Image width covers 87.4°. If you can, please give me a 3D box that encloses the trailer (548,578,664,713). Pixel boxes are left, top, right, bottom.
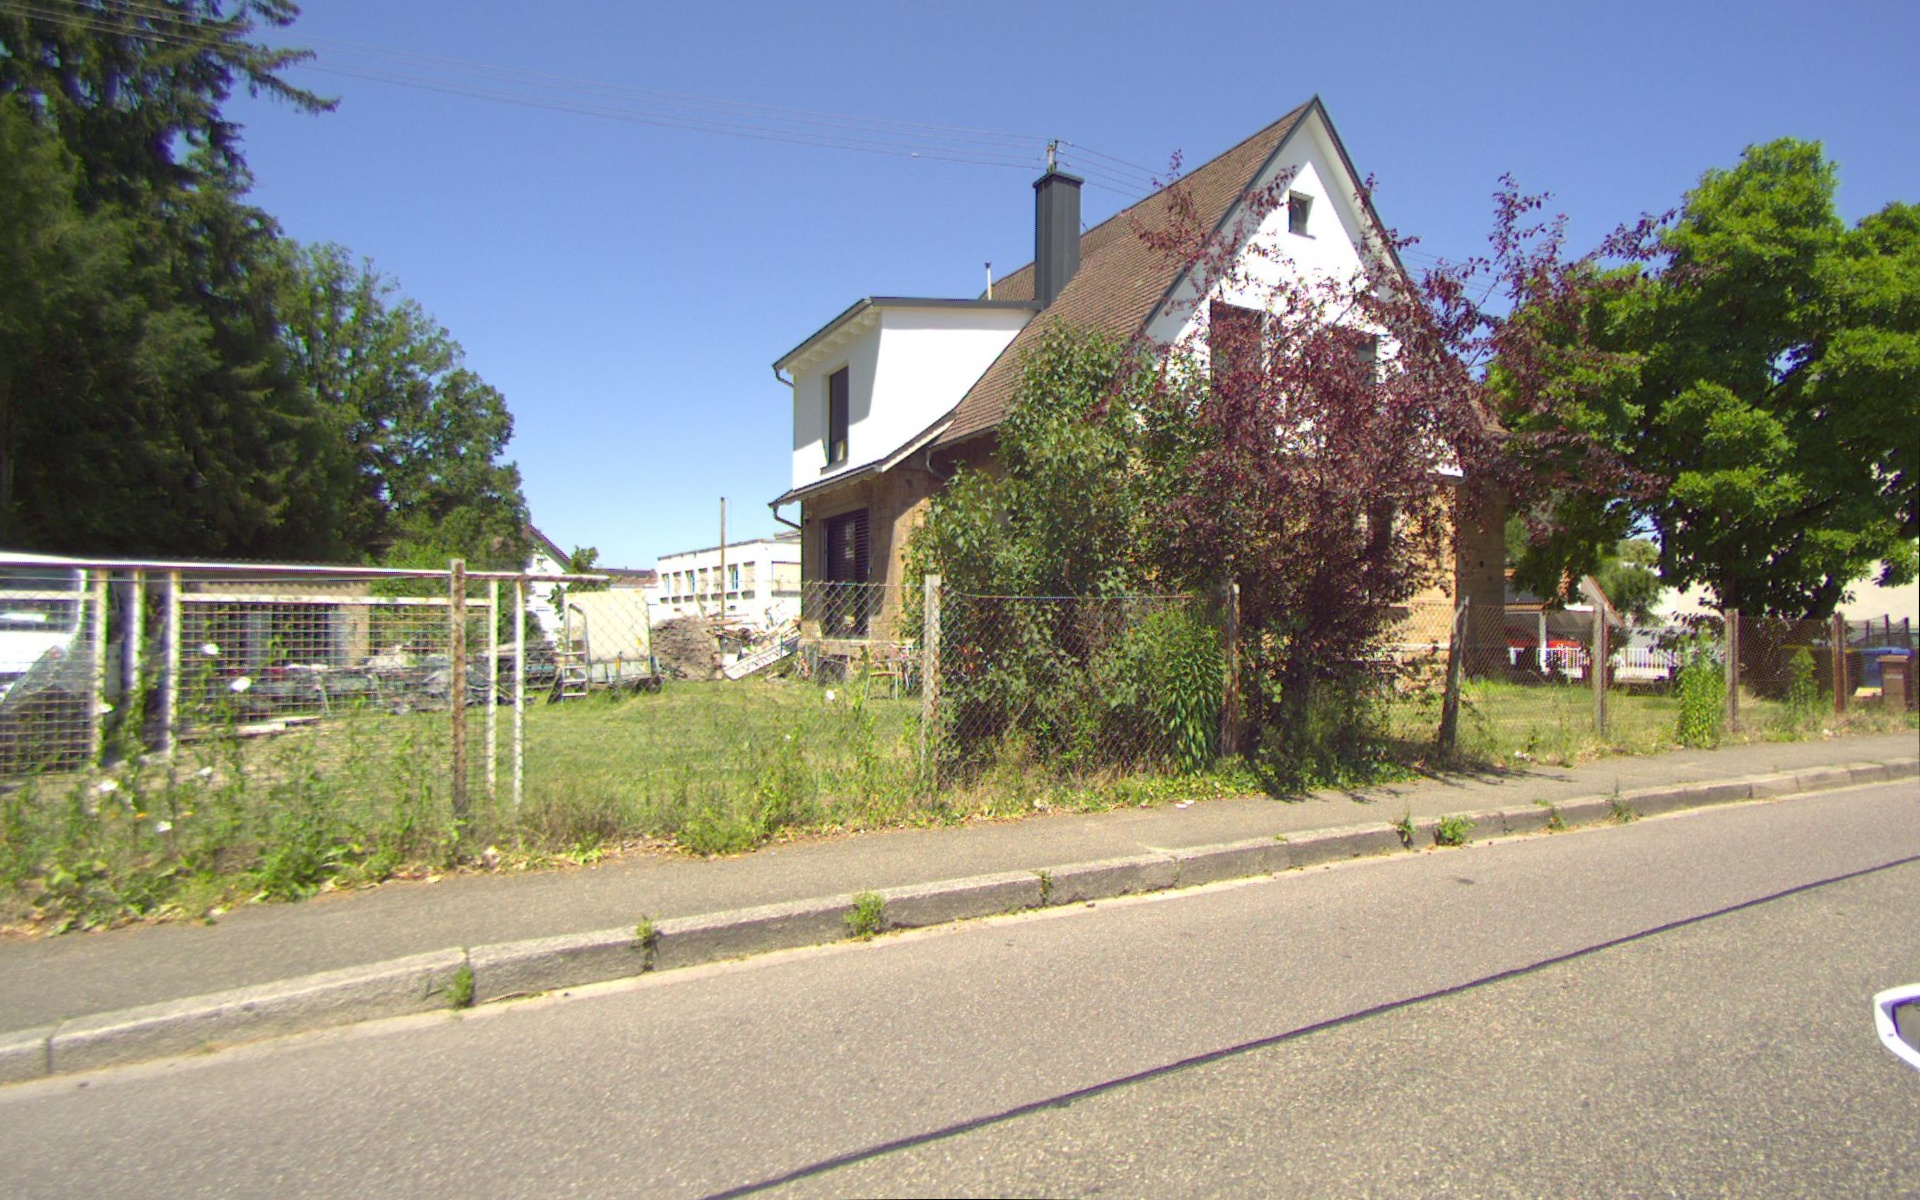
[{"bbox_3d":[-6.485,0.782,18.474,1.795,2.200,3.869,0,-1,-19],"label":"trailer"}]

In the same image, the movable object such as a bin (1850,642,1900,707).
[{"bbox_3d":[15.116,1.219,16.590,0.499,1.023,0.465,1,0,-29],"label":"movable object such as a bin"}]

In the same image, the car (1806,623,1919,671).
[{"bbox_3d":[32.999,1.660,35.814,1.781,1.530,3.964,1,0,-33],"label":"car"}]

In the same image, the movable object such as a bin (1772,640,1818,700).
[{"bbox_3d":[14.620,1.213,17.592,0.499,1.023,0.465,1,0,-29],"label":"movable object such as a bin"}]

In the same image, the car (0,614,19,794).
[{"bbox_3d":[-7.865,0.748,6.117,1.942,1.443,3.976,1,-3,-25],"label":"car"}]

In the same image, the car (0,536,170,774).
[{"bbox_3d":[-11.166,0.647,11.734,2.376,2.200,6.624,1,-3,-33],"label":"car"}]

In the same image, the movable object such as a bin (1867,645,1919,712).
[{"bbox_3d":[14.786,1.221,15.771,0.468,1.009,0.704,1,-1,-30],"label":"movable object such as a bin"}]

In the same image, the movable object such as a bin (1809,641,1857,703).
[{"bbox_3d":[14.855,1.216,17.095,0.499,1.023,0.465,1,0,-29],"label":"movable object such as a bin"}]
